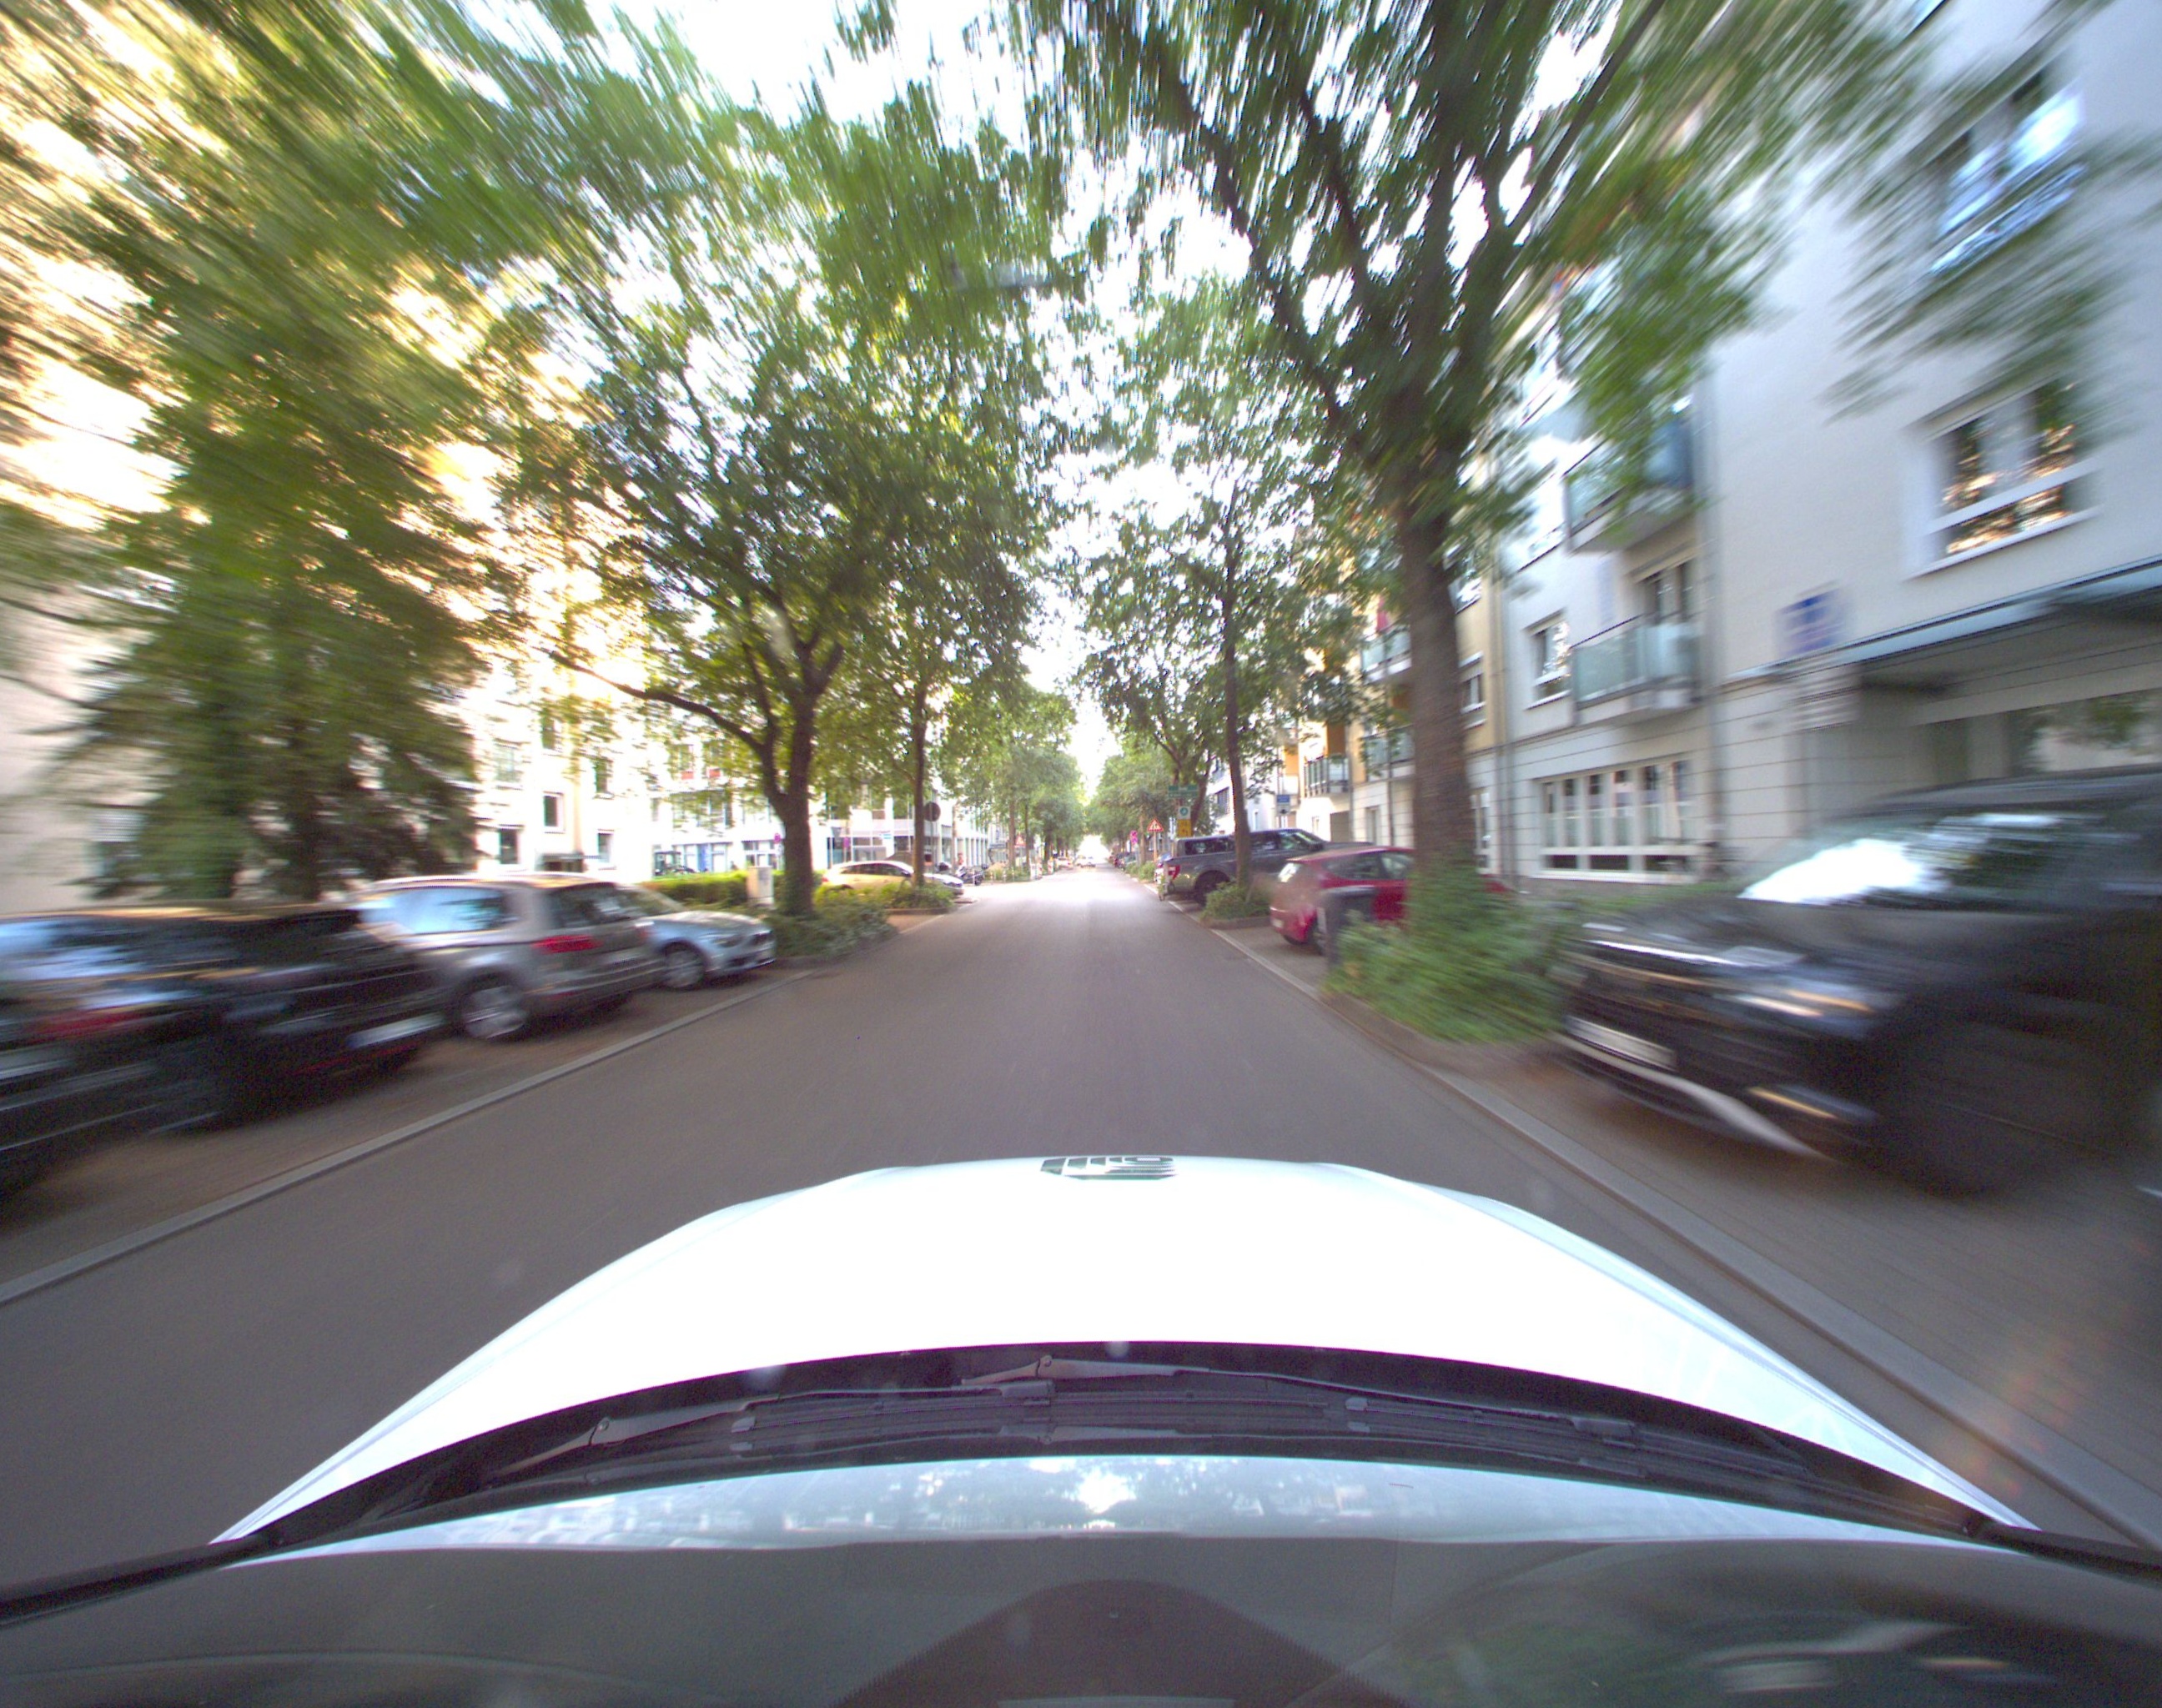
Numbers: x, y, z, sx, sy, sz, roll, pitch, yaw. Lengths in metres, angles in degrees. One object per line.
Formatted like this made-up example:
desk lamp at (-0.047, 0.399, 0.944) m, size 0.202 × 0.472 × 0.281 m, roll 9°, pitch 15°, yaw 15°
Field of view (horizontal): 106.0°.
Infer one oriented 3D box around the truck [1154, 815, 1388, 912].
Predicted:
truck at (5.019, 0.251, 22.264) m, size 5.866 × 2.311 × 2.213 m, roll -2°, pitch 0°, yaw 1°

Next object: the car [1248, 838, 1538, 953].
car at (4.687, 0.598, 12.644) m, size 3.765 × 1.544 × 1.877 m, roll -2°, pitch 0°, yaw -1°

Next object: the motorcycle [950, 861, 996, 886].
motorcycle at (-6.191, 1.113, 46.867) m, size 2.368 × 1.281 × 1.055 m, roll -2°, pitch 0°, yaw -40°

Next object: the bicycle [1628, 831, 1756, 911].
bicycle at (8.776, 0.224, 11.796) m, size 0.422 × 1.037 × 1.883 m, roll -3°, pitch 0°, yaw 2°

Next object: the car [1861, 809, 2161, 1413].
car at (4.674, 0.459, 1.630) m, size 4.207 × 1.438 × 1.931 m, roll -6°, pitch 0°, yaw 2°

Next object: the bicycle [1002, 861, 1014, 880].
bicycle at (-4.513, 1.008, 50.471) m, size 0.682 × 1.152 × 1.978 m, roll -2°, pitch 0°, yaw -4°

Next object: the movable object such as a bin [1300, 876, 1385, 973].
movable object such as a bin at (3.222, 0.850, 10.098) m, size 0.758 × 1.084 × 0.786 m, roll -4°, pitch 0°, yaw 2°

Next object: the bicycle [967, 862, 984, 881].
bicycle at (-6.540, 1.072, 50.465) m, size 0.680 × 1.152 × 1.982 m, roll -2°, pitch 0°, yaw 2°

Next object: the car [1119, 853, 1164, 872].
car at (5.462, 0.767, 73.678) m, size 3.971 × 1.585 × 2.001 m, roll -2°, pitch 0°, yaw 2°

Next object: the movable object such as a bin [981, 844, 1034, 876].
movable object such as a bin at (-5.822, 0.478, 64.880) m, size 4.039 × 2.383 × 2.780 m, roll -2°, pitch 0°, yaw -5°

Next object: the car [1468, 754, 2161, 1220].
car at (4.831, 0.364, 4.222) m, size 4.632 × 1.617 × 2.008 m, roll -5°, pitch 0°, yaw -3°

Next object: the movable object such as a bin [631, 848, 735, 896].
movable object such as a bin at (-23.775, 1.073, 48.658) m, size 5.581 × 2.692 × 2.296 m, roll -2°, pitch 0°, yaw 21°

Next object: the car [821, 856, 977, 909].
car at (-5.951, 0.907, 26.987) m, size 4.600 × 1.552 × 2.077 m, roll -2°, pitch 0°, yaw 3°

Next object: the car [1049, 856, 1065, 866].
car at (-3.292, 0.890, 109.759) m, size 1.989 × 1.288 × 3.995 m, roll -2°, pitch 0°, yaw -3°

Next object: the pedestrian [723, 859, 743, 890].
pedestrian at (-21.291, 1.236, 49.827) m, size 0.894 × 1.851 × 0.867 m, roll -2°, pitch 0°, yaw -34°

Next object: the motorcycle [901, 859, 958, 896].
motorcycle at (-6.112, 0.955, 32.823) m, size 2.225 × 1.420 × 0.858 m, roll -2°, pitch 0°, yaw 32°

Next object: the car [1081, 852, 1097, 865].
car at (1.037, 0.623, 107.417) m, size 2.003 × 1.613 × 4.119 m, roll -2°, pitch 0°, yaw 0°

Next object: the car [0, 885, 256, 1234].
car at (-6.669, 0.970, 3.600) m, size 3.975 × 1.464 × 1.921 m, roll -2°, pitch 0°, yaw -1°

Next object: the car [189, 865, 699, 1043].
car at (-6.519, 0.976, 8.647) m, size 3.967 × 1.565 × 1.932 m, roll -2°, pitch 0°, yaw 6°

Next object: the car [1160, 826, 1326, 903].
car at (4.862, 0.295, 25.009) m, size 4.586 × 2.066 × 2.197 m, roll -2°, pitch 0°, yaw -1°

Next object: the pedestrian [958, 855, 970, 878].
pedestrian at (-8.690, 0.927, 60.312) m, size 0.736 × 1.690 × 0.607 m, roll -2°, pitch 0°, yaw 2°

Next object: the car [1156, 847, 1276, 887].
car at (5.588, 0.522, 34.284) m, size 4.764 × 1.520 × 1.992 m, roll -2°, pitch 0°, yaw 2°

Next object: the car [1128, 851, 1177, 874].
car at (6.052, 0.679, 69.095) m, size 3.968 × 1.805 × 2.003 m, roll -2°, pitch 0°, yaw 4°

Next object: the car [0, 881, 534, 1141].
car at (-6.667, 1.039, 5.982) m, size 3.976 × 1.490 × 1.824 m, roll -2°, pitch 0°, yaw -2°

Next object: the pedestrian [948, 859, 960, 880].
pedestrian at (-9.435, 1.173, 60.456) m, size 0.767 × 1.536 × 0.643 m, roll -2°, pitch 0°, yaw 1°

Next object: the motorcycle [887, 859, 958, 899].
motorcycle at (-5.974, 0.935, 30.746) m, size 2.443 × 1.420 × 0.911 m, roll -2°, pitch 0°, yaw 2°

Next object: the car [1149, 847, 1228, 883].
car at (5.152, 0.519, 39.343) m, size 3.527 × 1.564 × 1.832 m, roll -2°, pitch 0°, yaw 0°

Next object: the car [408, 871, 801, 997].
car at (-6.376, 1.036, 11.274) m, size 4.273 × 1.429 × 1.879 m, roll -2°, pitch 0°, yaw 0°

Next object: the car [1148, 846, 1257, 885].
car at (5.409, 0.512, 36.681) m, size 4.606 × 1.571 × 2.011 m, roll -2°, pitch 0°, yaw 0°
